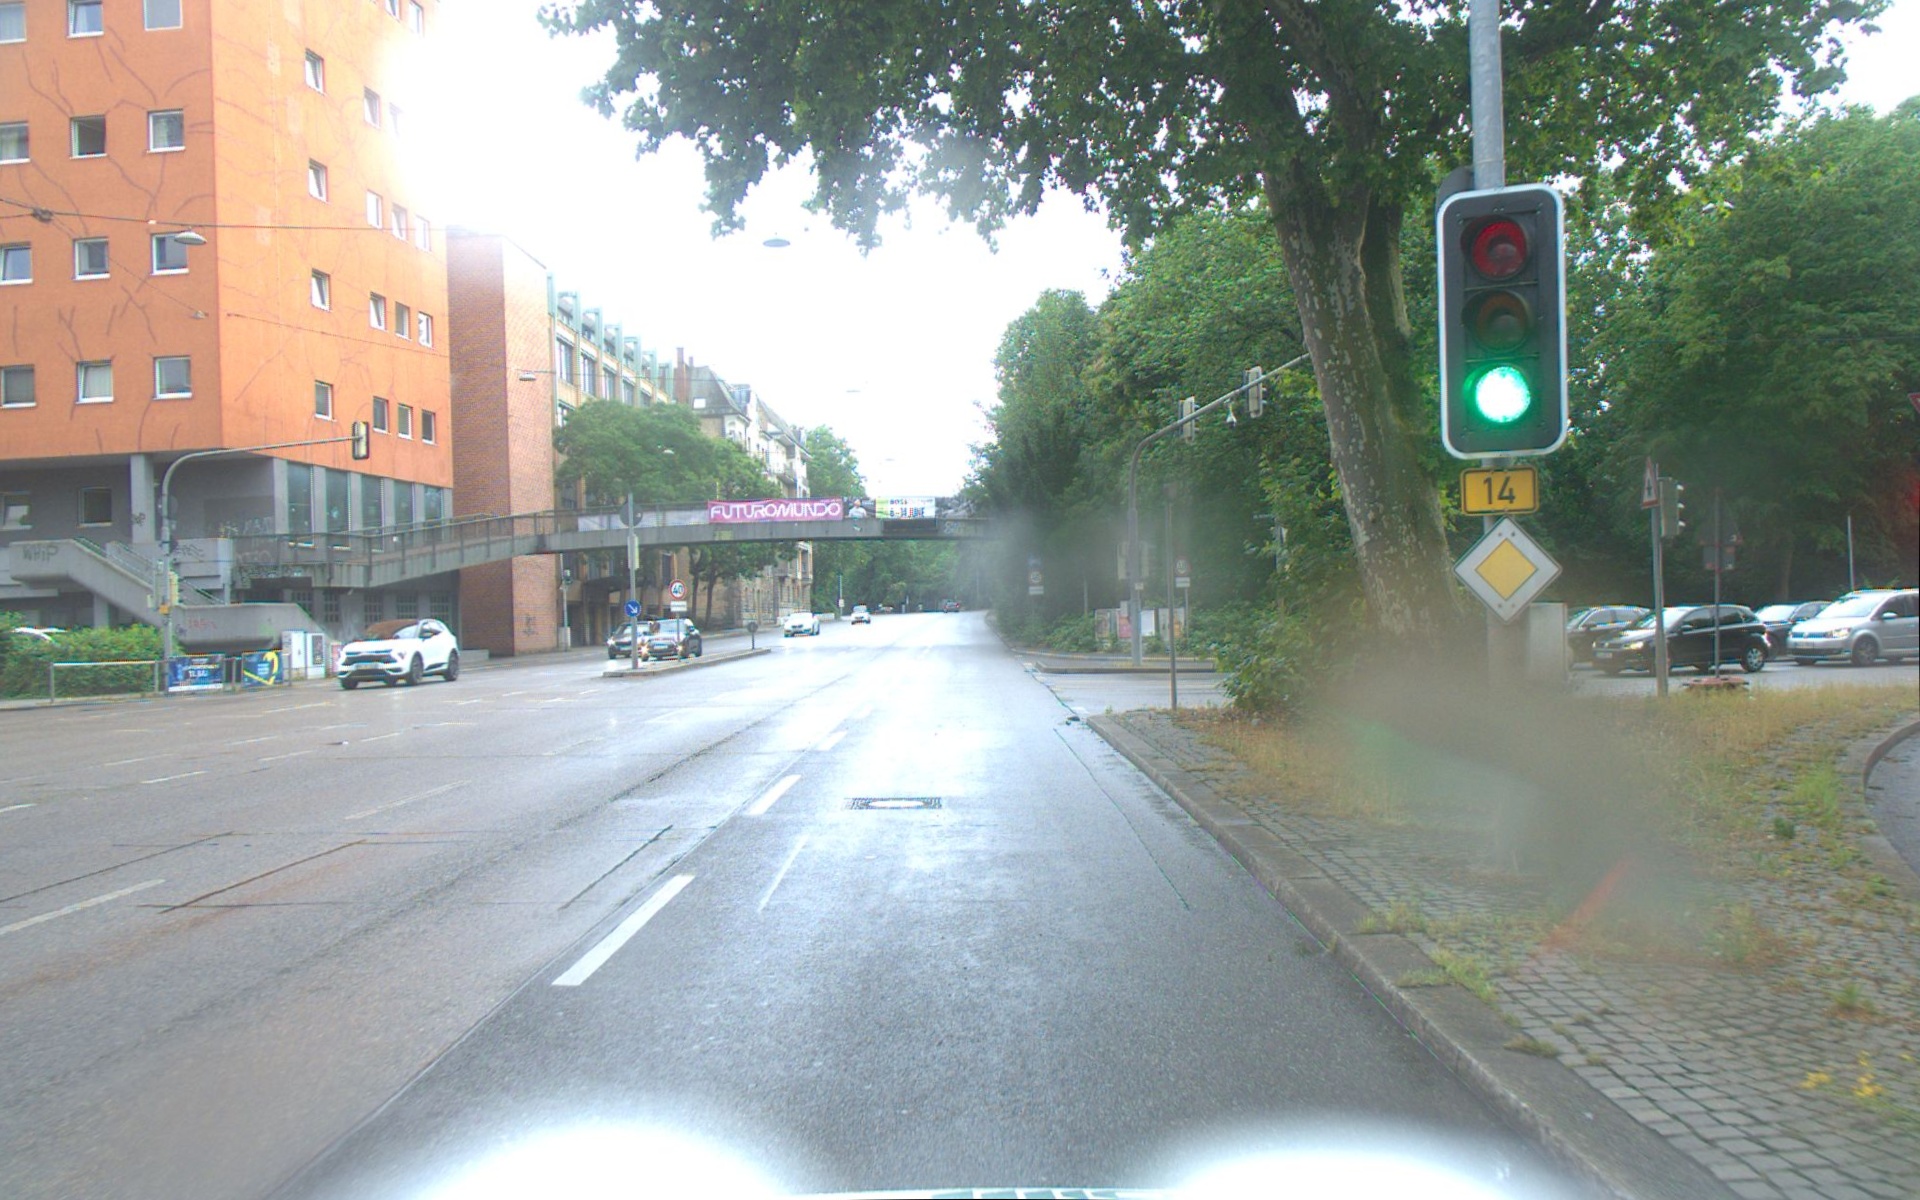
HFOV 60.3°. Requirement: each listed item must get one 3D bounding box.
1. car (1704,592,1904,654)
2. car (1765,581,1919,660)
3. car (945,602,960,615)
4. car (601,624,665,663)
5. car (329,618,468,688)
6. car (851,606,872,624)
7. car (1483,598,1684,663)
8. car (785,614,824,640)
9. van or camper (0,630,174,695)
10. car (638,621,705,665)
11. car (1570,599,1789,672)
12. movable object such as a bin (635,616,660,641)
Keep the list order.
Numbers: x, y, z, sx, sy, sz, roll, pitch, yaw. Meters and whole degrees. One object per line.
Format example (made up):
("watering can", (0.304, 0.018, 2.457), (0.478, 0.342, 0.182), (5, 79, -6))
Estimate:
("car", (20.718, 0.573, 40.635), (4.361, 1.427, 1.821), (1, -1, -17))
("car", (20.511, 0.477, 37.219), (4.129, 1.709, 1.898), (1, -1, -17))
("car", (-1.026, 1.119, 225.493), (1.964, 1.672, 4.373), (-2, -1, -2))
("car", (-13.561, 1.777, 68.809), (1.673, 1.490, 4.042), (-2, -1, 2))
("car", (-14.060, 1.288, 41.658), (1.850, 1.638, 4.457), (-1, -1, 2))
("car", (-8.555, 1.306, 143.840), (1.568, 1.525, 3.711), (-3, -1, 1))
("car", (14.663, 0.719, 38.931), (4.132, 1.466, 1.941), (1, -1, -17))
("car", (-9.255, 1.604, 98.656), (1.793, 1.418, 4.405), (-3, -1, 1))
("van or camper", (-24.536, 1.745, 46.512), (3.903, 1.656, 1.915), (-2, 0, 5))
("car", (-10.388, 1.527, 59.780), (1.648, 1.461, 3.862), (-2, -1, 1))
("car", (15.301, 0.757, 35.218), (4.119, 1.486, 1.785), (1, -1, -17))
("movable object such as a bin", (-19.918, 1.791, 105.414), (1.256, 1.545, 1.273), (-1, 0, 1))
